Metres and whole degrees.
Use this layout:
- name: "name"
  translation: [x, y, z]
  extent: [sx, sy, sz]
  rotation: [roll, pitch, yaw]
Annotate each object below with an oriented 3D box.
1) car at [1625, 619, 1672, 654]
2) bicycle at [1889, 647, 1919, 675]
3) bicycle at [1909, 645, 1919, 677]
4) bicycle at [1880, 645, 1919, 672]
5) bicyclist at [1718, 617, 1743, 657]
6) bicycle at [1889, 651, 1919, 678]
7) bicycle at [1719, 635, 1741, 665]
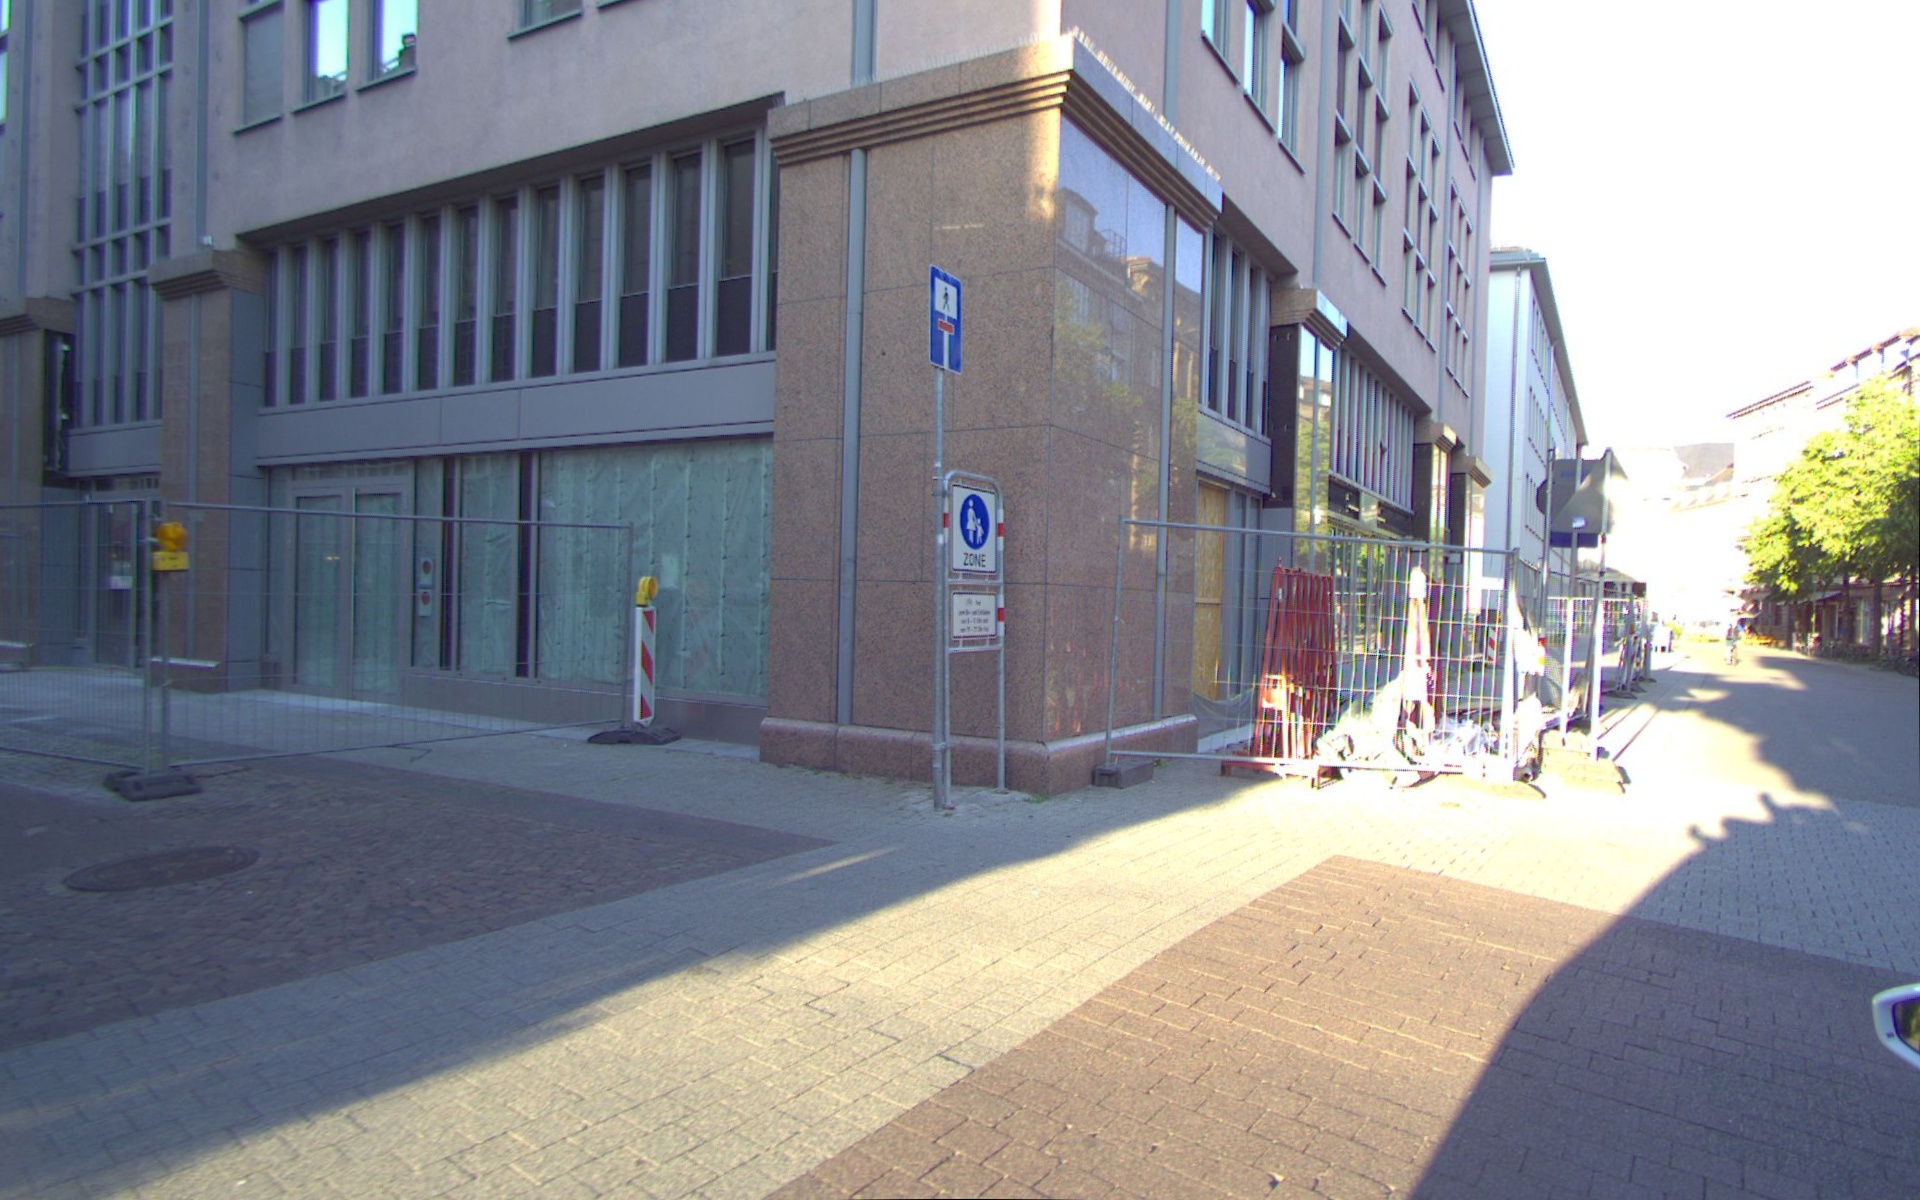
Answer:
- name: "car"
  translation: [35.936, 1.886, 52.525]
  extent: [1.815, 1.706, 3.636]
  rotation: [1, 0, 32]
- name: "bicycle"
  translation: [34.420, 2.198, 35.567]
  extent: [2.121, 0.938, 0.589]
  rotation: [1, -1, 30]
- name: "bicycle"
  translation: [33.285, 2.073, 33.637]
  extent: [0.585, 1.075, 2.136]
  rotation: [2, -1, -38]
- name: "bicycle"
  translation: [35.578, 2.190, 37.186]
  extent: [2.121, 0.938, 0.589]
  rotation: [1, -1, 30]
- name: "bicyclist"
  translation: [29.766, 1.415, 38.811]
  extent: [0.712, 1.488, 0.715]
  rotation: [2, 0, 35]
- name: "bicycle"
  translation: [35.122, 2.348, 36.325]
  extent: [2.121, 0.938, 0.589]
  rotation: [1, -1, 30]
- name: "bicycle"
  translation: [29.867, 1.916, 38.986]
  extent: [0.581, 1.109, 2.153]
  rotation: [1, -1, 36]
